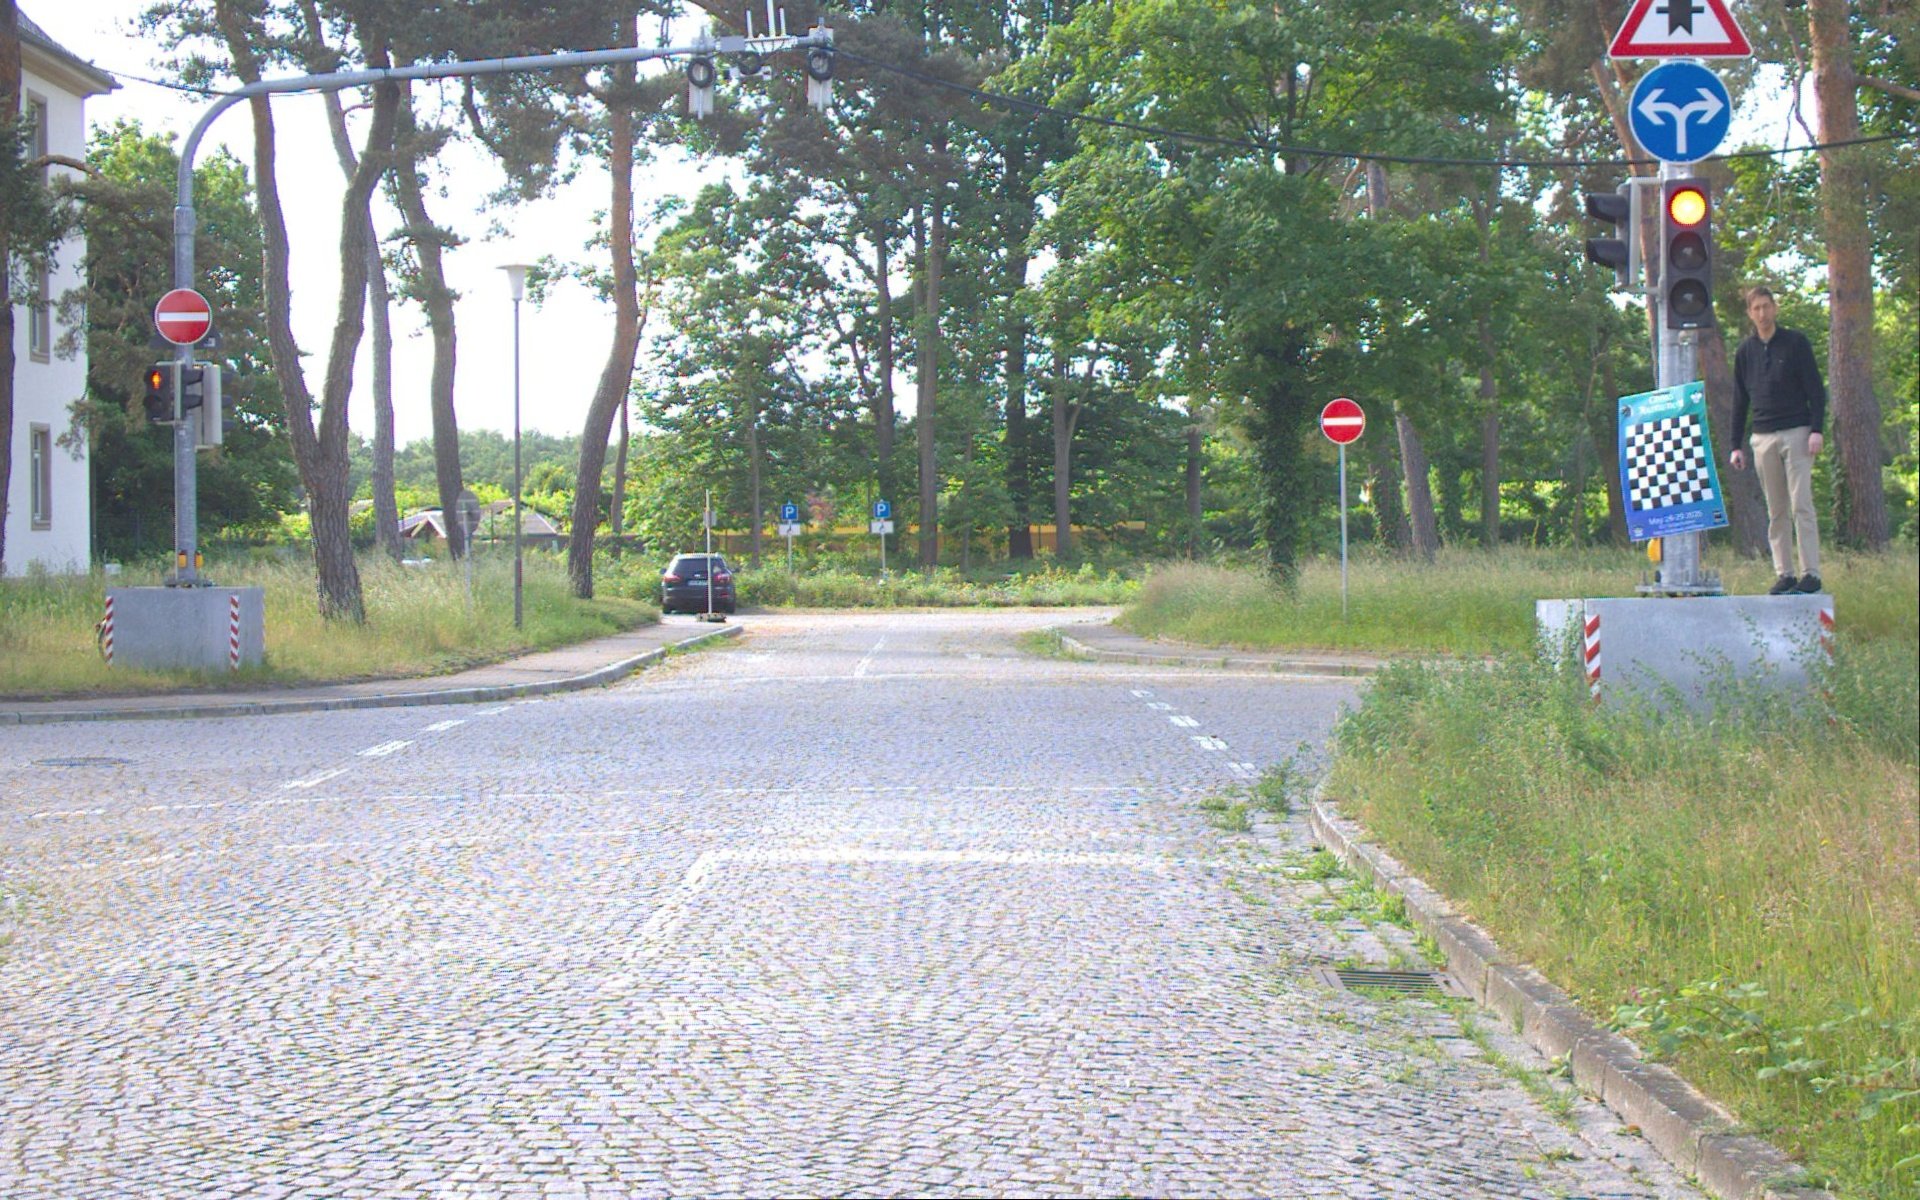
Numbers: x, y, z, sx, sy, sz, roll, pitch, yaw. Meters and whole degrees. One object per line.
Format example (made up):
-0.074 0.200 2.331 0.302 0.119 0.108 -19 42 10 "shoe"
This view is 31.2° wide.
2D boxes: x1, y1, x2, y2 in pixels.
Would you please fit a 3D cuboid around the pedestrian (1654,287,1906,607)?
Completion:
4.800 -0.874 20.094 1.170 1.790 1.061 -1 1 29 "pedestrian"

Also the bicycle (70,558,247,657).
-8.949 0.070 38.435 0.634 1.062 1.946 0 1 38 "bicycle"

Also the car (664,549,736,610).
-6.625 -0.551 87.825 1.709 1.491 3.919 -1 1 -3 "car"
